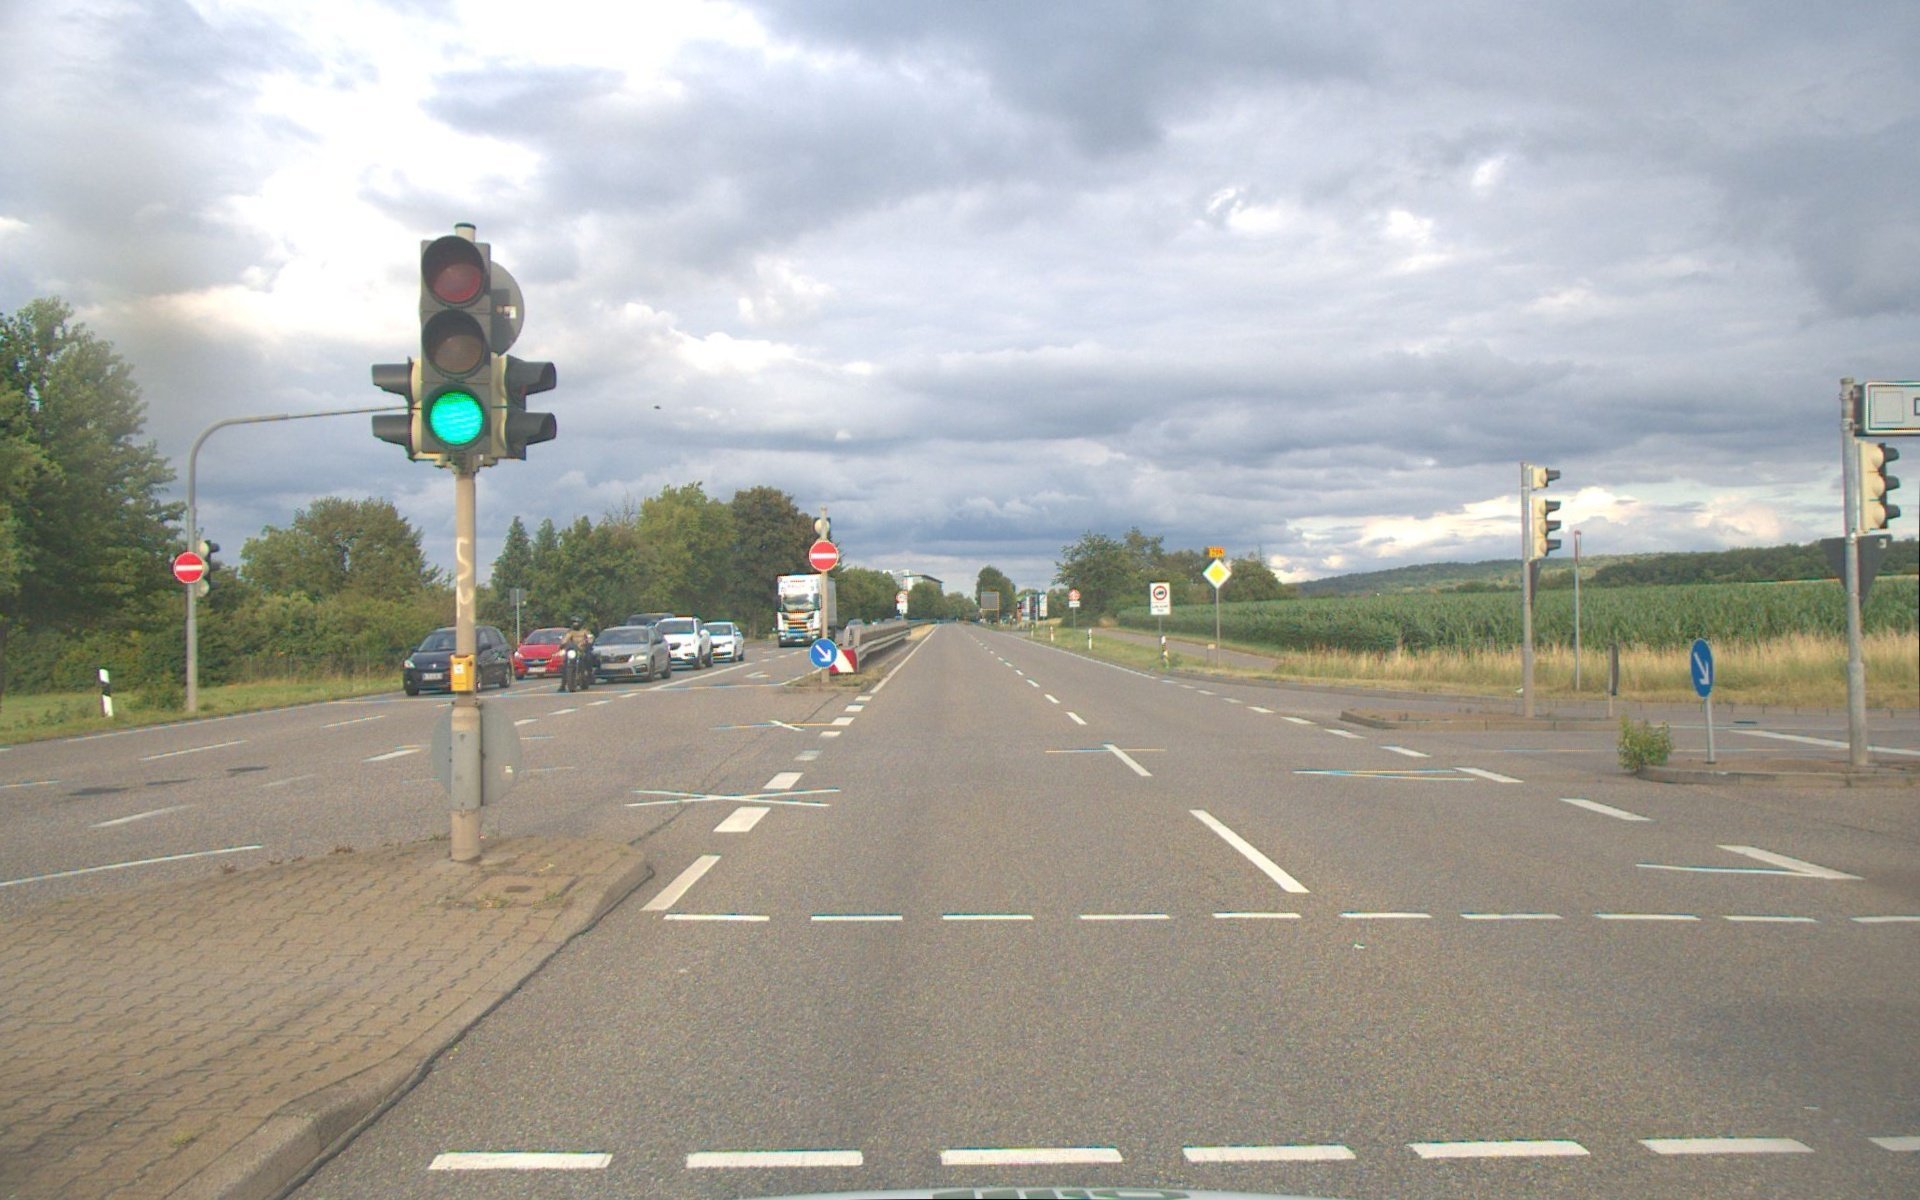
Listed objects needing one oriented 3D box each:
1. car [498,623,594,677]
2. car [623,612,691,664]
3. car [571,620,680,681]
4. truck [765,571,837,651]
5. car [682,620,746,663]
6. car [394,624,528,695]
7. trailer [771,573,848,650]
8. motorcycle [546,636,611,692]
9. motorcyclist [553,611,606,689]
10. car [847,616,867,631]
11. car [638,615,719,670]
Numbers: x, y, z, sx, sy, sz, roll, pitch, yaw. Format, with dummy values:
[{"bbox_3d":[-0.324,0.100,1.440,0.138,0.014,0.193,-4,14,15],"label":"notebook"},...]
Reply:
[{"bbox_3d":[-12.543,1.495,50.360,1.869,1.490,4.183,-1,0,-1],"label":"car"},{"bbox_3d":[-12.827,1.589,70.284,1.953,2.049,4.946,-2,-1,0],"label":"car"},{"bbox_3d":[-8.763,1.296,43.807,1.869,1.453,5.151,-1,0,-1],"label":"car"},{"bbox_3d":[-8.987,0.640,94.395,3.404,4.223,6.048,-3,-1,-1],"label":"truck"},{"bbox_3d":[-9.044,1.505,61.108,1.752,1.470,4.159,-1,0,-1],"label":"car"},{"bbox_3d":[-12.328,1.428,41.193,1.869,1.562,4.937,-1,0,-1],"label":"car"},{"bbox_3d":[-9.029,0.727,101.060,3.395,4.223,13.913,-3,-1,-1],"label":"trailer"},{"bbox_3d":[-8.791,1.456,38.252,0.897,1.224,2.478,-2,-1,0],"label":"motorcycle"},{"bbox_3d":[-8.791,1.156,38.256,0.897,1.738,1.276,-2,-1,0],"label":"motorcyclist"},{"bbox_3d":[-10.242,2.290,164.431,1.752,1.410,4.159,-1,0,-1],"label":"car"},{"bbox_3d":[-8.985,1.327,53.067,1.869,1.638,4.404,-1,0,-1],"label":"car"}]
